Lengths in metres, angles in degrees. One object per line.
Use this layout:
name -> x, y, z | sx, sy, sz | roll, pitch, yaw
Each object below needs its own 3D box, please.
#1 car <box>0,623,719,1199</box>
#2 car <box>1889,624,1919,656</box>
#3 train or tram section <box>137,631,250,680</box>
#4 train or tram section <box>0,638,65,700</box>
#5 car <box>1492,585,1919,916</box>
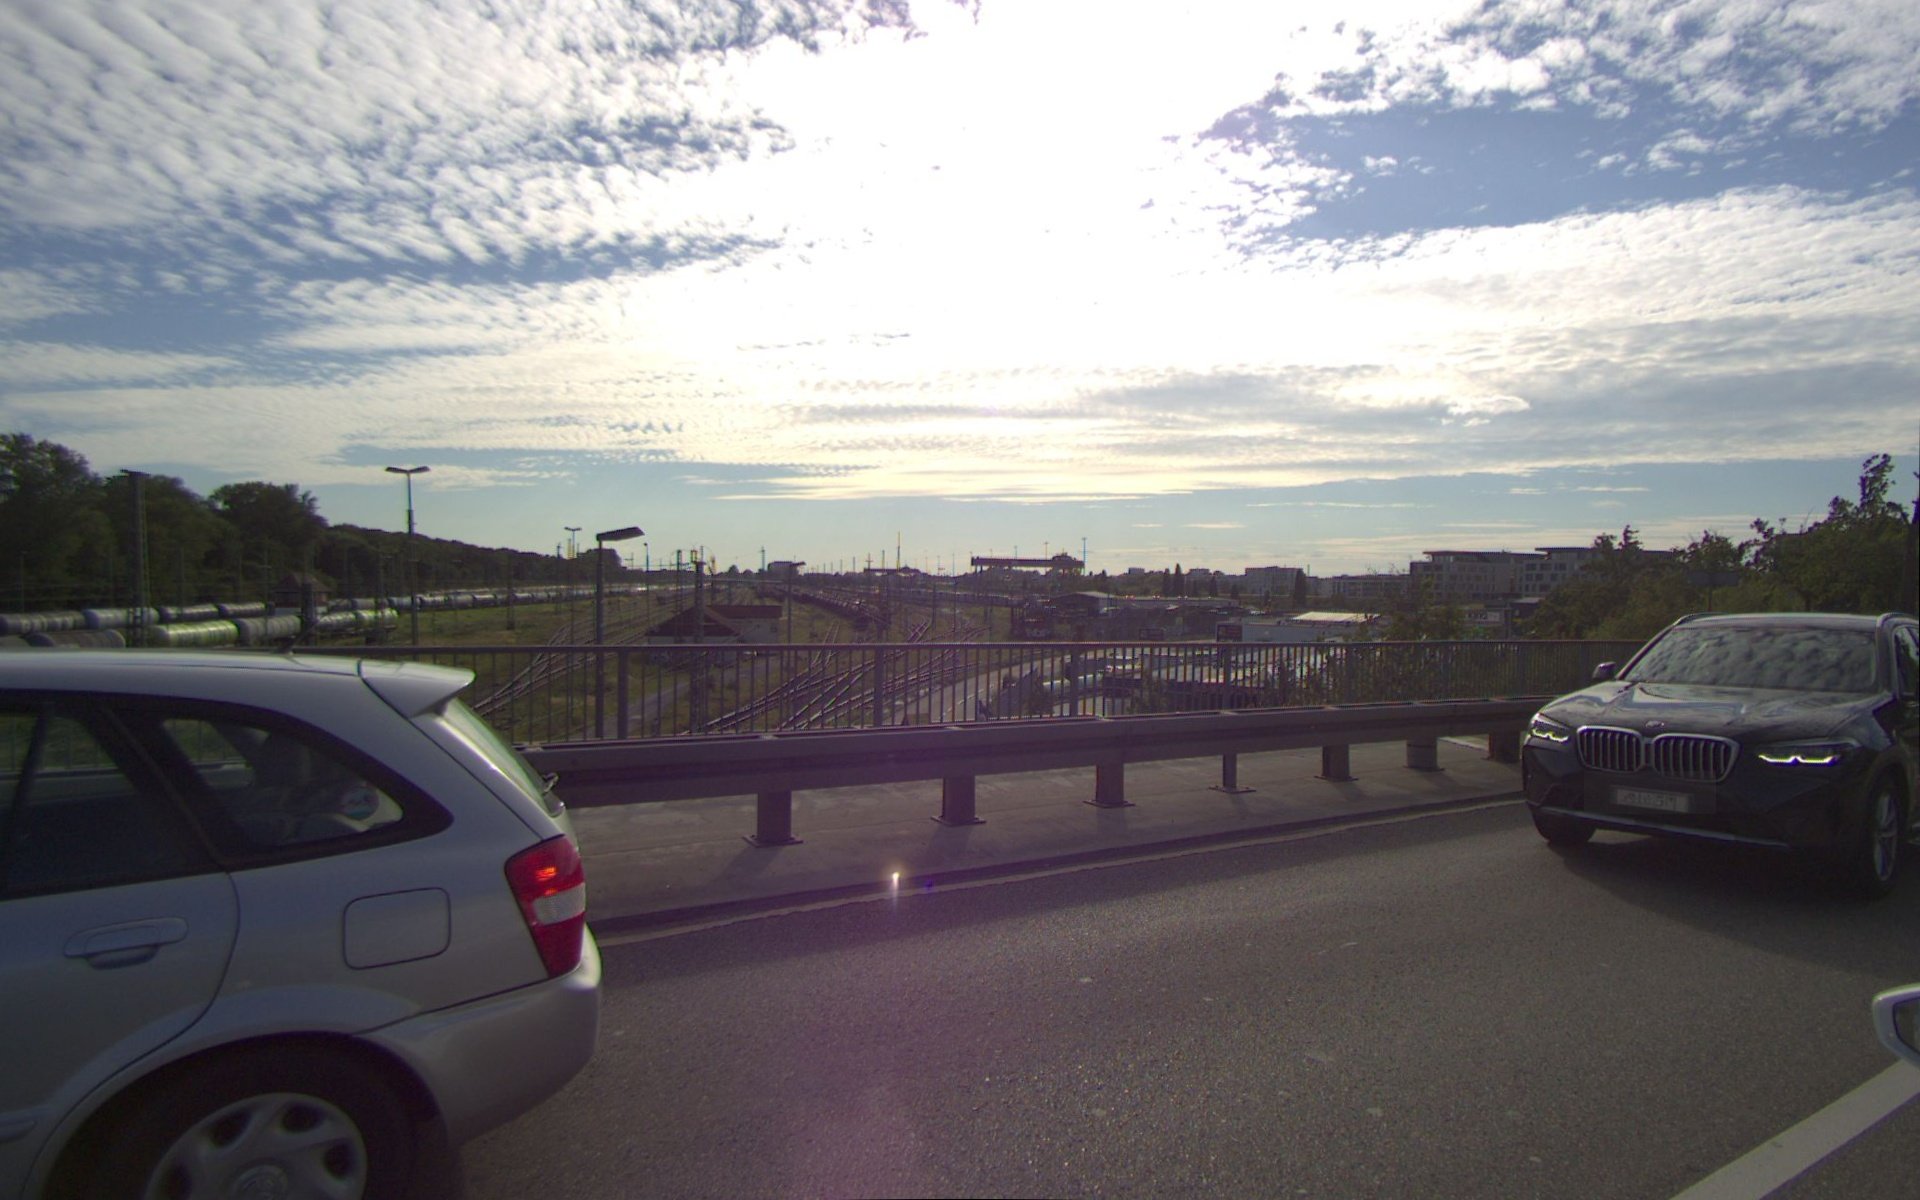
car -> -2.836, 0.785, 2.164 | 4.213, 1.474, 1.724 | 1, -1, -29
car -> 53.371, 2.218, 56.097 | 1.786, 1.696, 4.280 | 0, -1, 38
train or tram section -> -84.710, 6.024, 111.610 | 3.043, 4.775, 16.710 | 1, -1, -12
train or tram section -> -77.629, 5.544, 78.888 | 3.043, 4.775, 16.710 | 1, -1, -12
car -> 5.892, 0.853, 7.232 | 4.599, 1.671, 1.876 | 2, -2, -37
